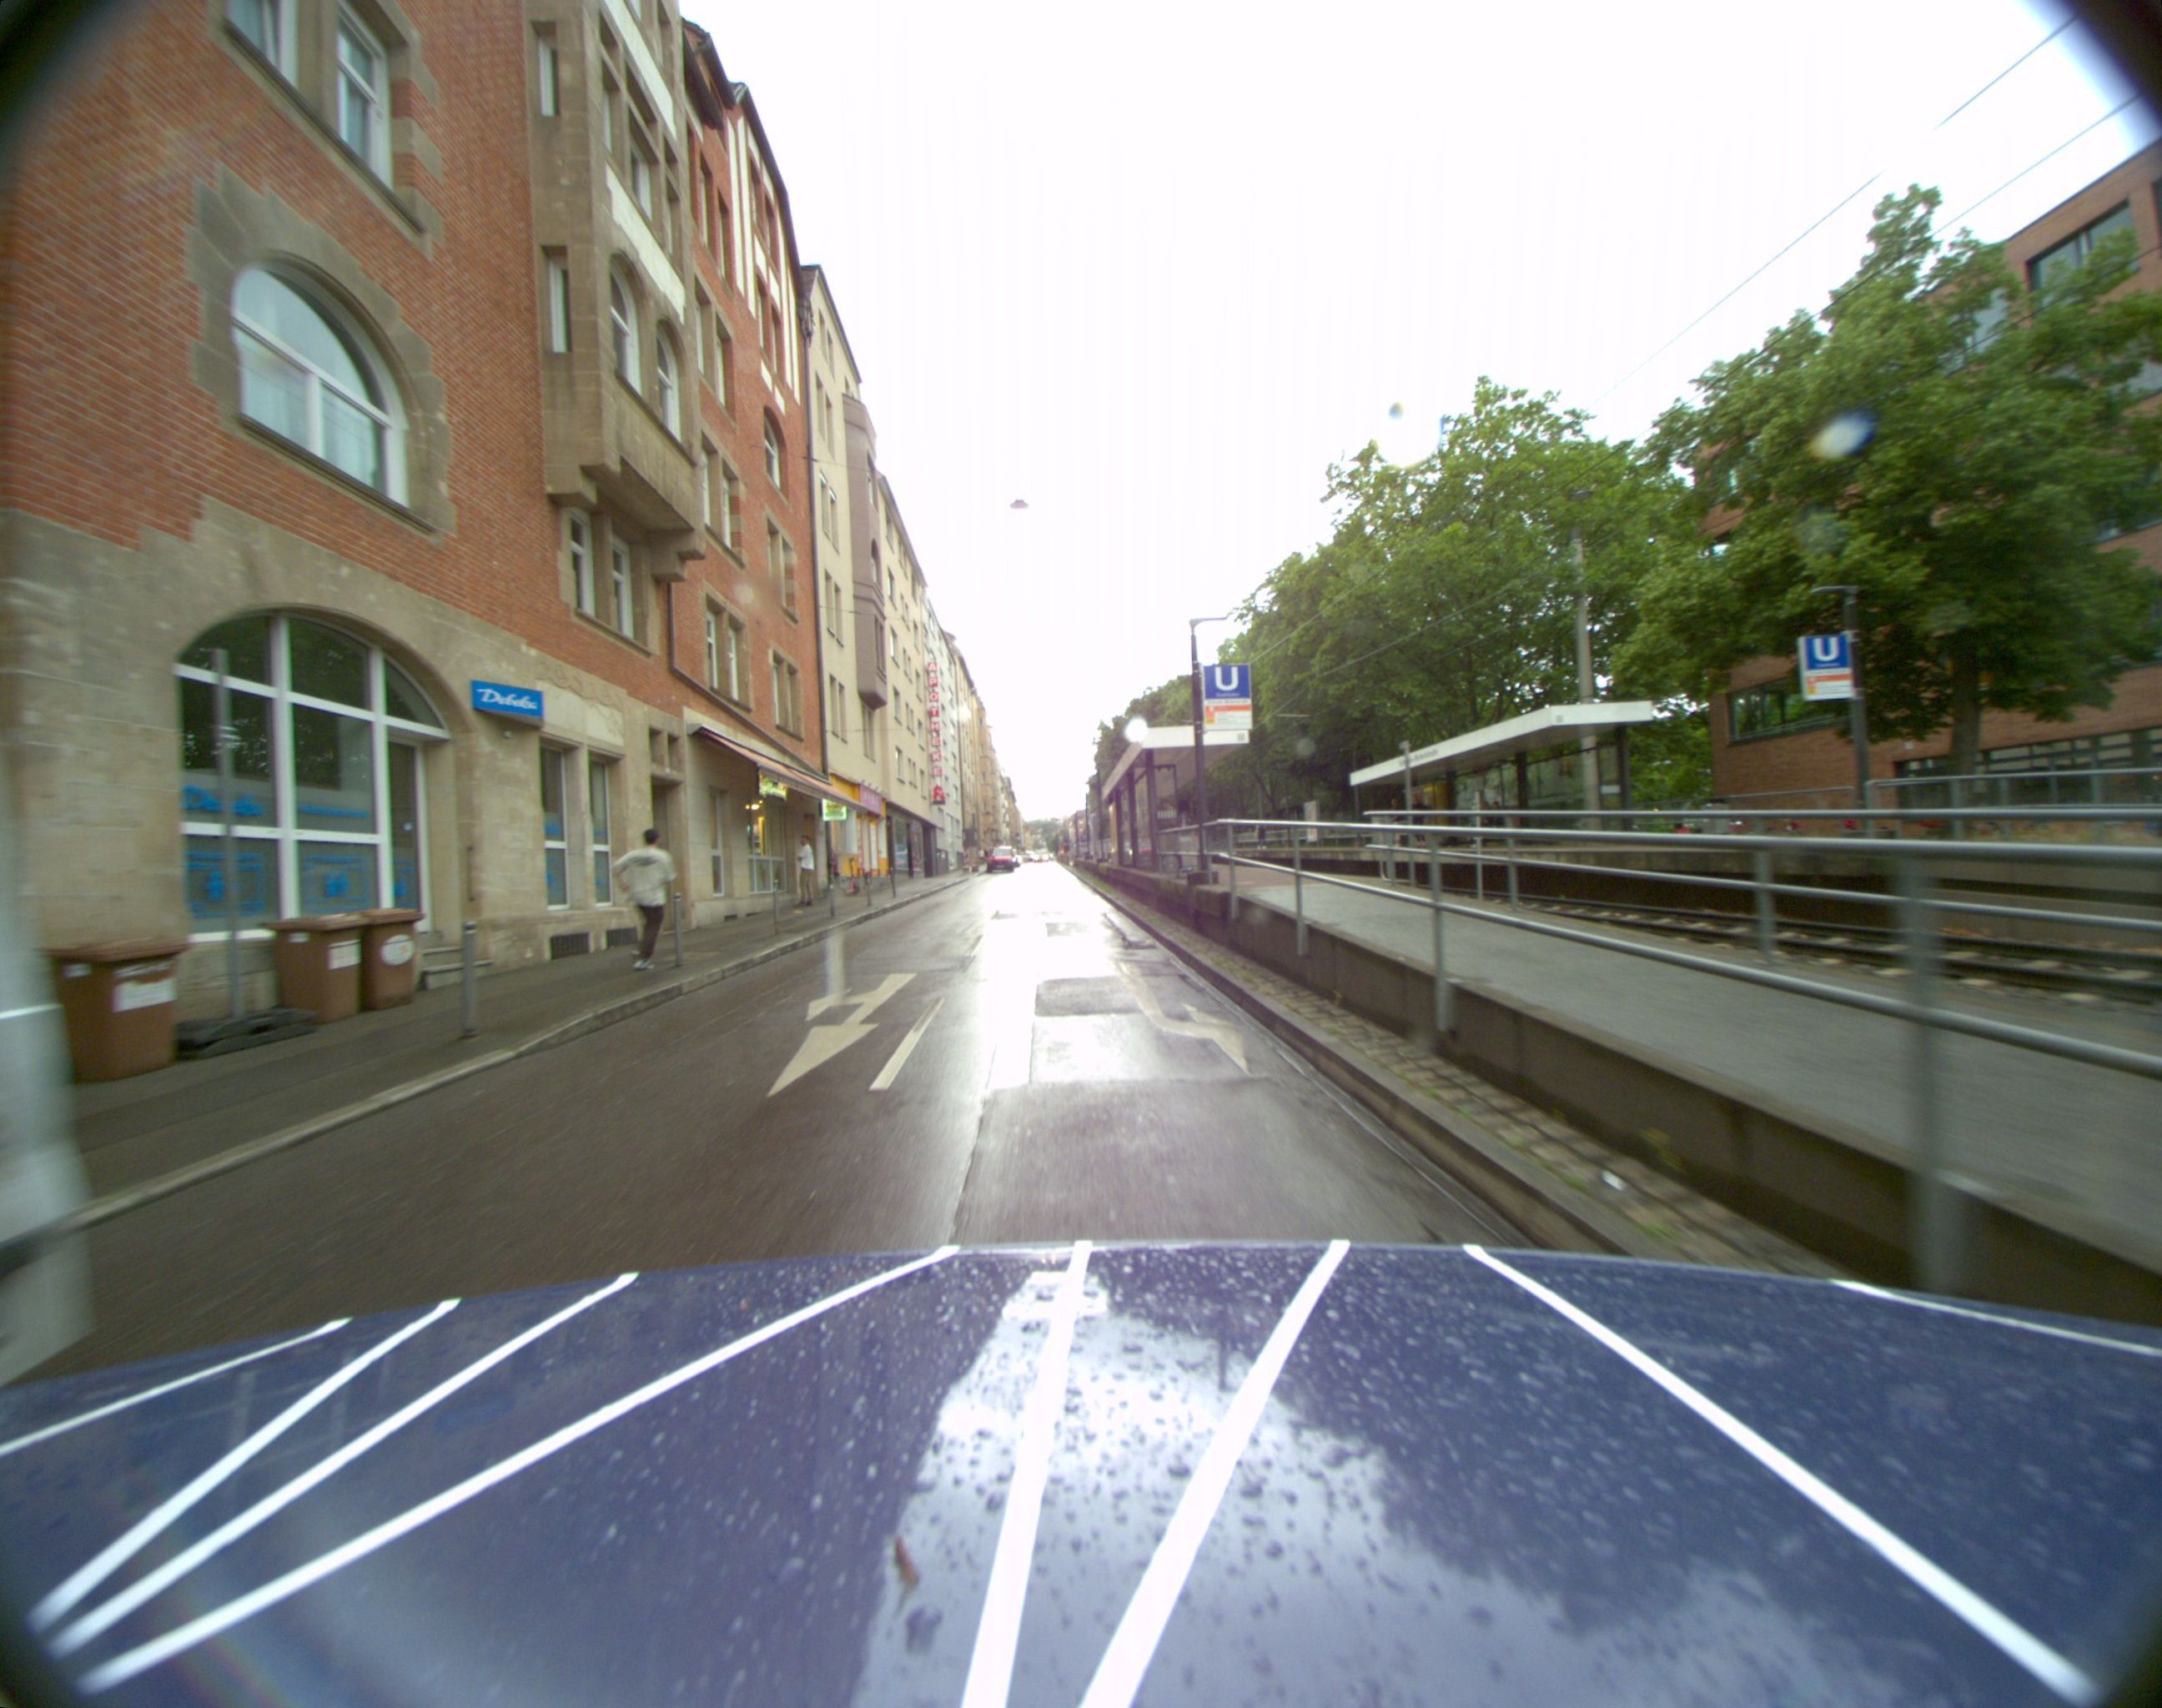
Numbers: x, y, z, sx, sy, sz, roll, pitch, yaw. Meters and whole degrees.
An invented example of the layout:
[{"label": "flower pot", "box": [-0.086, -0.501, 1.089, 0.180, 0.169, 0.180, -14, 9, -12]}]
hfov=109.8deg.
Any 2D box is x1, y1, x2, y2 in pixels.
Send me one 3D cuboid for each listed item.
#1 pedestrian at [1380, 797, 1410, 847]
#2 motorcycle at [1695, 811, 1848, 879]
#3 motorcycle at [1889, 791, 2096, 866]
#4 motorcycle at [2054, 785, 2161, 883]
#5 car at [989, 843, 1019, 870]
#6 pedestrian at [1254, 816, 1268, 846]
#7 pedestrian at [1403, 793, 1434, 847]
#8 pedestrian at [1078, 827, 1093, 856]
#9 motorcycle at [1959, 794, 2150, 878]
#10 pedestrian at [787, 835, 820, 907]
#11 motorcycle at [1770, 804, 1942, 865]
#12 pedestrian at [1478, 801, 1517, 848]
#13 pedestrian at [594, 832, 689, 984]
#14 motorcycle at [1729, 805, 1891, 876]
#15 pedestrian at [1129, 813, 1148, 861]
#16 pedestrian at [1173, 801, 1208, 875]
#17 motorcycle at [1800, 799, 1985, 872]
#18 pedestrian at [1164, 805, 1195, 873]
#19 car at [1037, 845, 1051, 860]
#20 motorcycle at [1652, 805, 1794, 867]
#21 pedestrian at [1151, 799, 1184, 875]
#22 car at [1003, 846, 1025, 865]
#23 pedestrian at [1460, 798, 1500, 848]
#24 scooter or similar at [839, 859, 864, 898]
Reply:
[{"label": "pedestrian", "box": [10.791, -1.095, 26.133, 0.688, 1.632, 0.564, -4, 1, -5]}, {"label": "motorcycle", "box": [20.931, -0.288, 23.063, 3.875, 1.805, 1.006, -3, 1, -4]}, {"label": "motorcycle", "box": [21.204, -0.587, 17.712, 3.875, 1.479, 1.006, -3, 1, -4]}, {"label": "motorcycle", "box": [21.054, -0.439, 14.826, 3.045, 1.805, 0.993, -3, 1, -4]}, {"label": "car", "box": [-5.588, 0.126, 55.692, 1.980, 1.828, 5.242, -3, 1, -5]}, {"label": "pedestrian", "box": [10.186, -1.303, 43.101, 0.563, 1.632, 0.689, -4, 1, 4]}, {"label": "pedestrian", "box": [10.927, -1.092, 24.588, 0.564, 1.705, 0.705, -4, 1, -5]}, {"label": "pedestrian", "box": [0.279, -0.792, 49.145, 0.861, 1.789, 0.787, -3, 1, -3]}, {"label": "motorcycle", "box": [21.178, -0.393, 16.563, 3.067, 1.618, 1.006, -3, 1, -4]}, {"label": "pedestrian", "box": [-7.251, 0.429, 19.872, 0.562, 1.820, 0.580, 2, 2, 29]}, {"label": "motorcycle", "box": [21.060, -0.523, 20.684, 3.875, 1.399, 1.006, -3, 1, -4]}, {"label": "pedestrian", "box": [11.540, -0.820, 21.079, 0.705, 1.233, 0.564, -4, 1, -5]}, {"label": "pedestrian", "box": [-5.331, 0.625, 9.272, 0.687, 1.744, 0.835, -2, 1, -9]}, {"label": "motorcycle", "box": [20.984, -0.390, 21.914, 3.875, 1.805, 1.006, -3, 1, -4]}, {"label": "pedestrian", "box": [1.932, -0.570, 25.442, 0.496, 1.596, 0.637, -2, 1, 14]}, {"label": "pedestrian", "box": [2.388, -0.351, 16.604, 0.615, 1.572, 0.507, -3, 1, 1]}, {"label": "motorcycle", "box": [20.756, -0.476, 19.471, 3.875, 1.596, 1.006, -3, 1, -4]}, {"label": "pedestrian", "box": [2.350, -0.350, 18.115, 0.615, 1.572, 0.507, -3, 1, 1]}, {"label": "car", "box": [-4.447, -0.179, 91.843, 1.621, 1.592, 4.066, -2, -1, -3]}, {"label": "motorcycle", "box": [20.737, -0.576, 24.570, 3.875, 1.764, 1.006, -3, 1, -4]}, {"label": "pedestrian", "box": [1.983, -0.386, 17.403, 0.615, 1.678, 0.587, -3, 1, 1]}, {"label": "car", "box": [-6.322, 0.129, 71.720, 1.770, 1.698, 4.498, -3, 0, -2]}, {"label": "pedestrian", "box": [11.407, -0.877, 21.742, 0.779, 1.355, 0.564, -4, 1, -5]}, {"label": "scooter or similar", "box": [-7.428, 0.776, 24.667, 0.258, 1.214, 1.195, -3, 0, 7]}]
